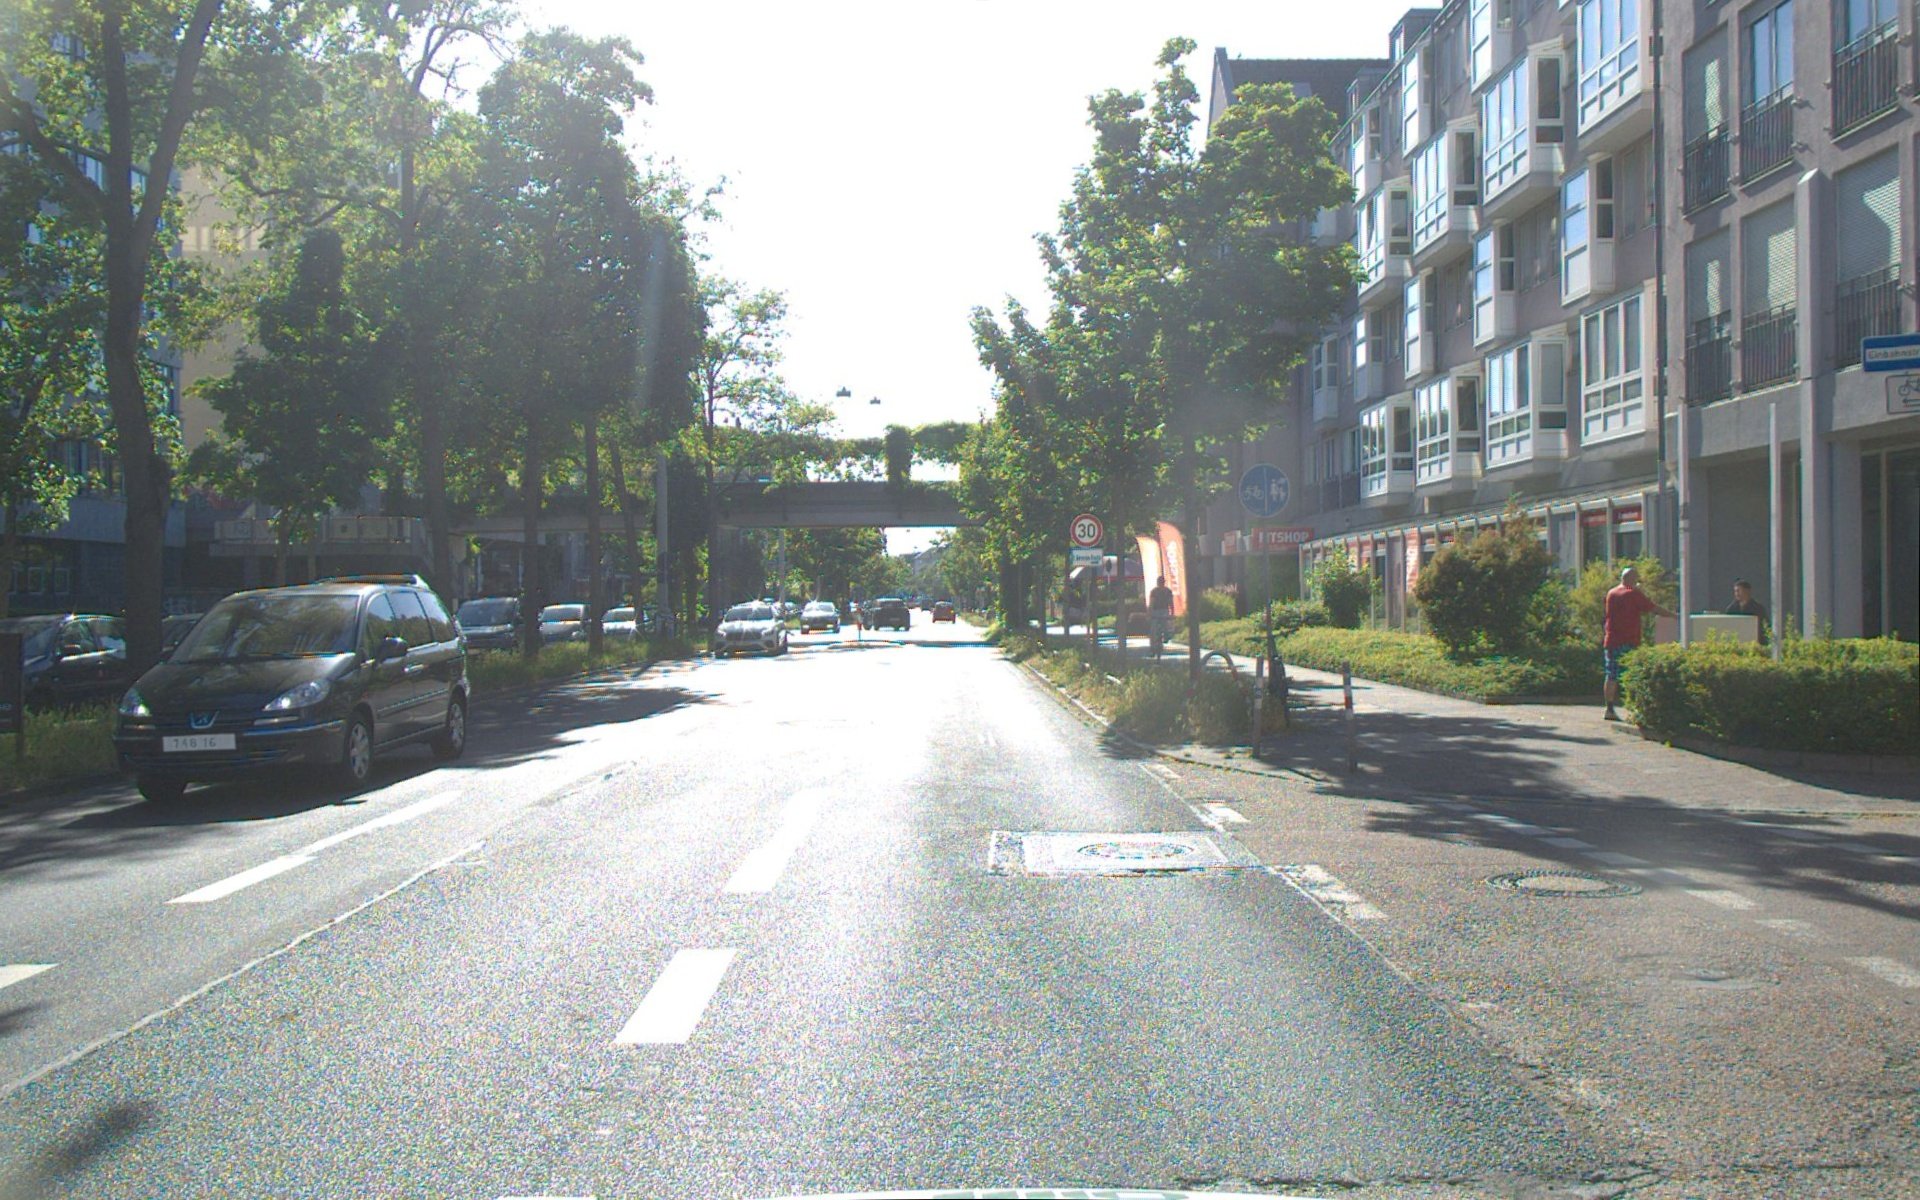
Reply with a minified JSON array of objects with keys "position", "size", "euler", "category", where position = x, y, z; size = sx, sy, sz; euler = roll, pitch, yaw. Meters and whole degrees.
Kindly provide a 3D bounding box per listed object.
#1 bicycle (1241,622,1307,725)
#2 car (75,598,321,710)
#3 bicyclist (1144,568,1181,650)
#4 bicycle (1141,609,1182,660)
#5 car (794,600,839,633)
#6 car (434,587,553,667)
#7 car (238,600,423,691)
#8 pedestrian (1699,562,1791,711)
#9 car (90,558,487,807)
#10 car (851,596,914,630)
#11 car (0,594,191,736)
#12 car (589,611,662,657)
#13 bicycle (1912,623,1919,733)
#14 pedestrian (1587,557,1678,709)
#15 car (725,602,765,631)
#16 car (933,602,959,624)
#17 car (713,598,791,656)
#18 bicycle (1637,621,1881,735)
[{"position":[3.586,0.801,18.773],"size":[0.578,1.084,2.024],"euler":[0,0,15],"category":"bicycle"},{"position":[-11.524,0.767,25.357],"size":[1.818,1.549,4.317],"euler":[1,0,-1],"category":"car"},{"position":[4.295,0.189,35.180],"size":[0.654,1.725,0.889],"euler":[0,-1,-1],"category":"bicyclist"},{"position":[4.278,0.733,35.193],"size":[0.577,1.045,1.859],"euler":[0,-1,-2],"category":"bicycle"},{"position":[-6.794,0.764,78.719],"size":[1.818,1.465,4.317],"euler":[-2,0,-2],"category":"car"},{"position":[-11.674,0.658,41.707],"size":[1.818,1.882,4.560],"euler":[1,0,-2],"category":"car"},{"position":[-11.577,0.794,30.718],"size":[1.817,1.549,4.063],"euler":[1,0,0],"category":"car"},{"position":[8.898,0.411,18.761],"size":[0.641,1.632,0.602],"euler":[-3,-1,-7],"category":"pedestrian"},{"position":[-5.838,0.640,15.068],"size":[1.818,1.857,4.608],"euler":[-2,0,-2],"category":"car"},{"position":[-3.858,0.622,81.527],"size":[1.956,1.628,4.115],"euler":[0,0,-20],"category":"car"},{"position":[-11.322,0.705,20.223],"size":[1.745,1.549,4.319],"euler":[1,0,1],"category":"car"},{"position":[-11.928,1.175,59.209],"size":[1.818,1.549,4.317],"euler":[1,0,-2],"category":"car"},{"position":[9.327,0.774,14.728],"size":[0.670,1.045,2.205],"euler":[-1,2,7],"category":"bicycle"},{"position":[7.492,0.369,18.447],"size":[0.641,1.632,0.602],"euler":[-3,-1,-7],"category":"pedestrian"},{"position":[-11.992,0.894,92.389],"size":[1.818,1.549,4.076],"euler":[1,0,-2],"category":"car"},{"position":[-1.002,0.935,120.226],"size":[1.817,1.549,4.319],"euler":[1,0,1],"category":"car"},{"position":[-6.155,0.781,49.484],"size":[1.818,1.595,4.713],"euler":[-2,0,-2],"category":"car"},{"position":[8.118,0.784,16.855],"size":[2.150,1.045,0.687],"euler":[-2,2,1],"category":"bicycle"}]
